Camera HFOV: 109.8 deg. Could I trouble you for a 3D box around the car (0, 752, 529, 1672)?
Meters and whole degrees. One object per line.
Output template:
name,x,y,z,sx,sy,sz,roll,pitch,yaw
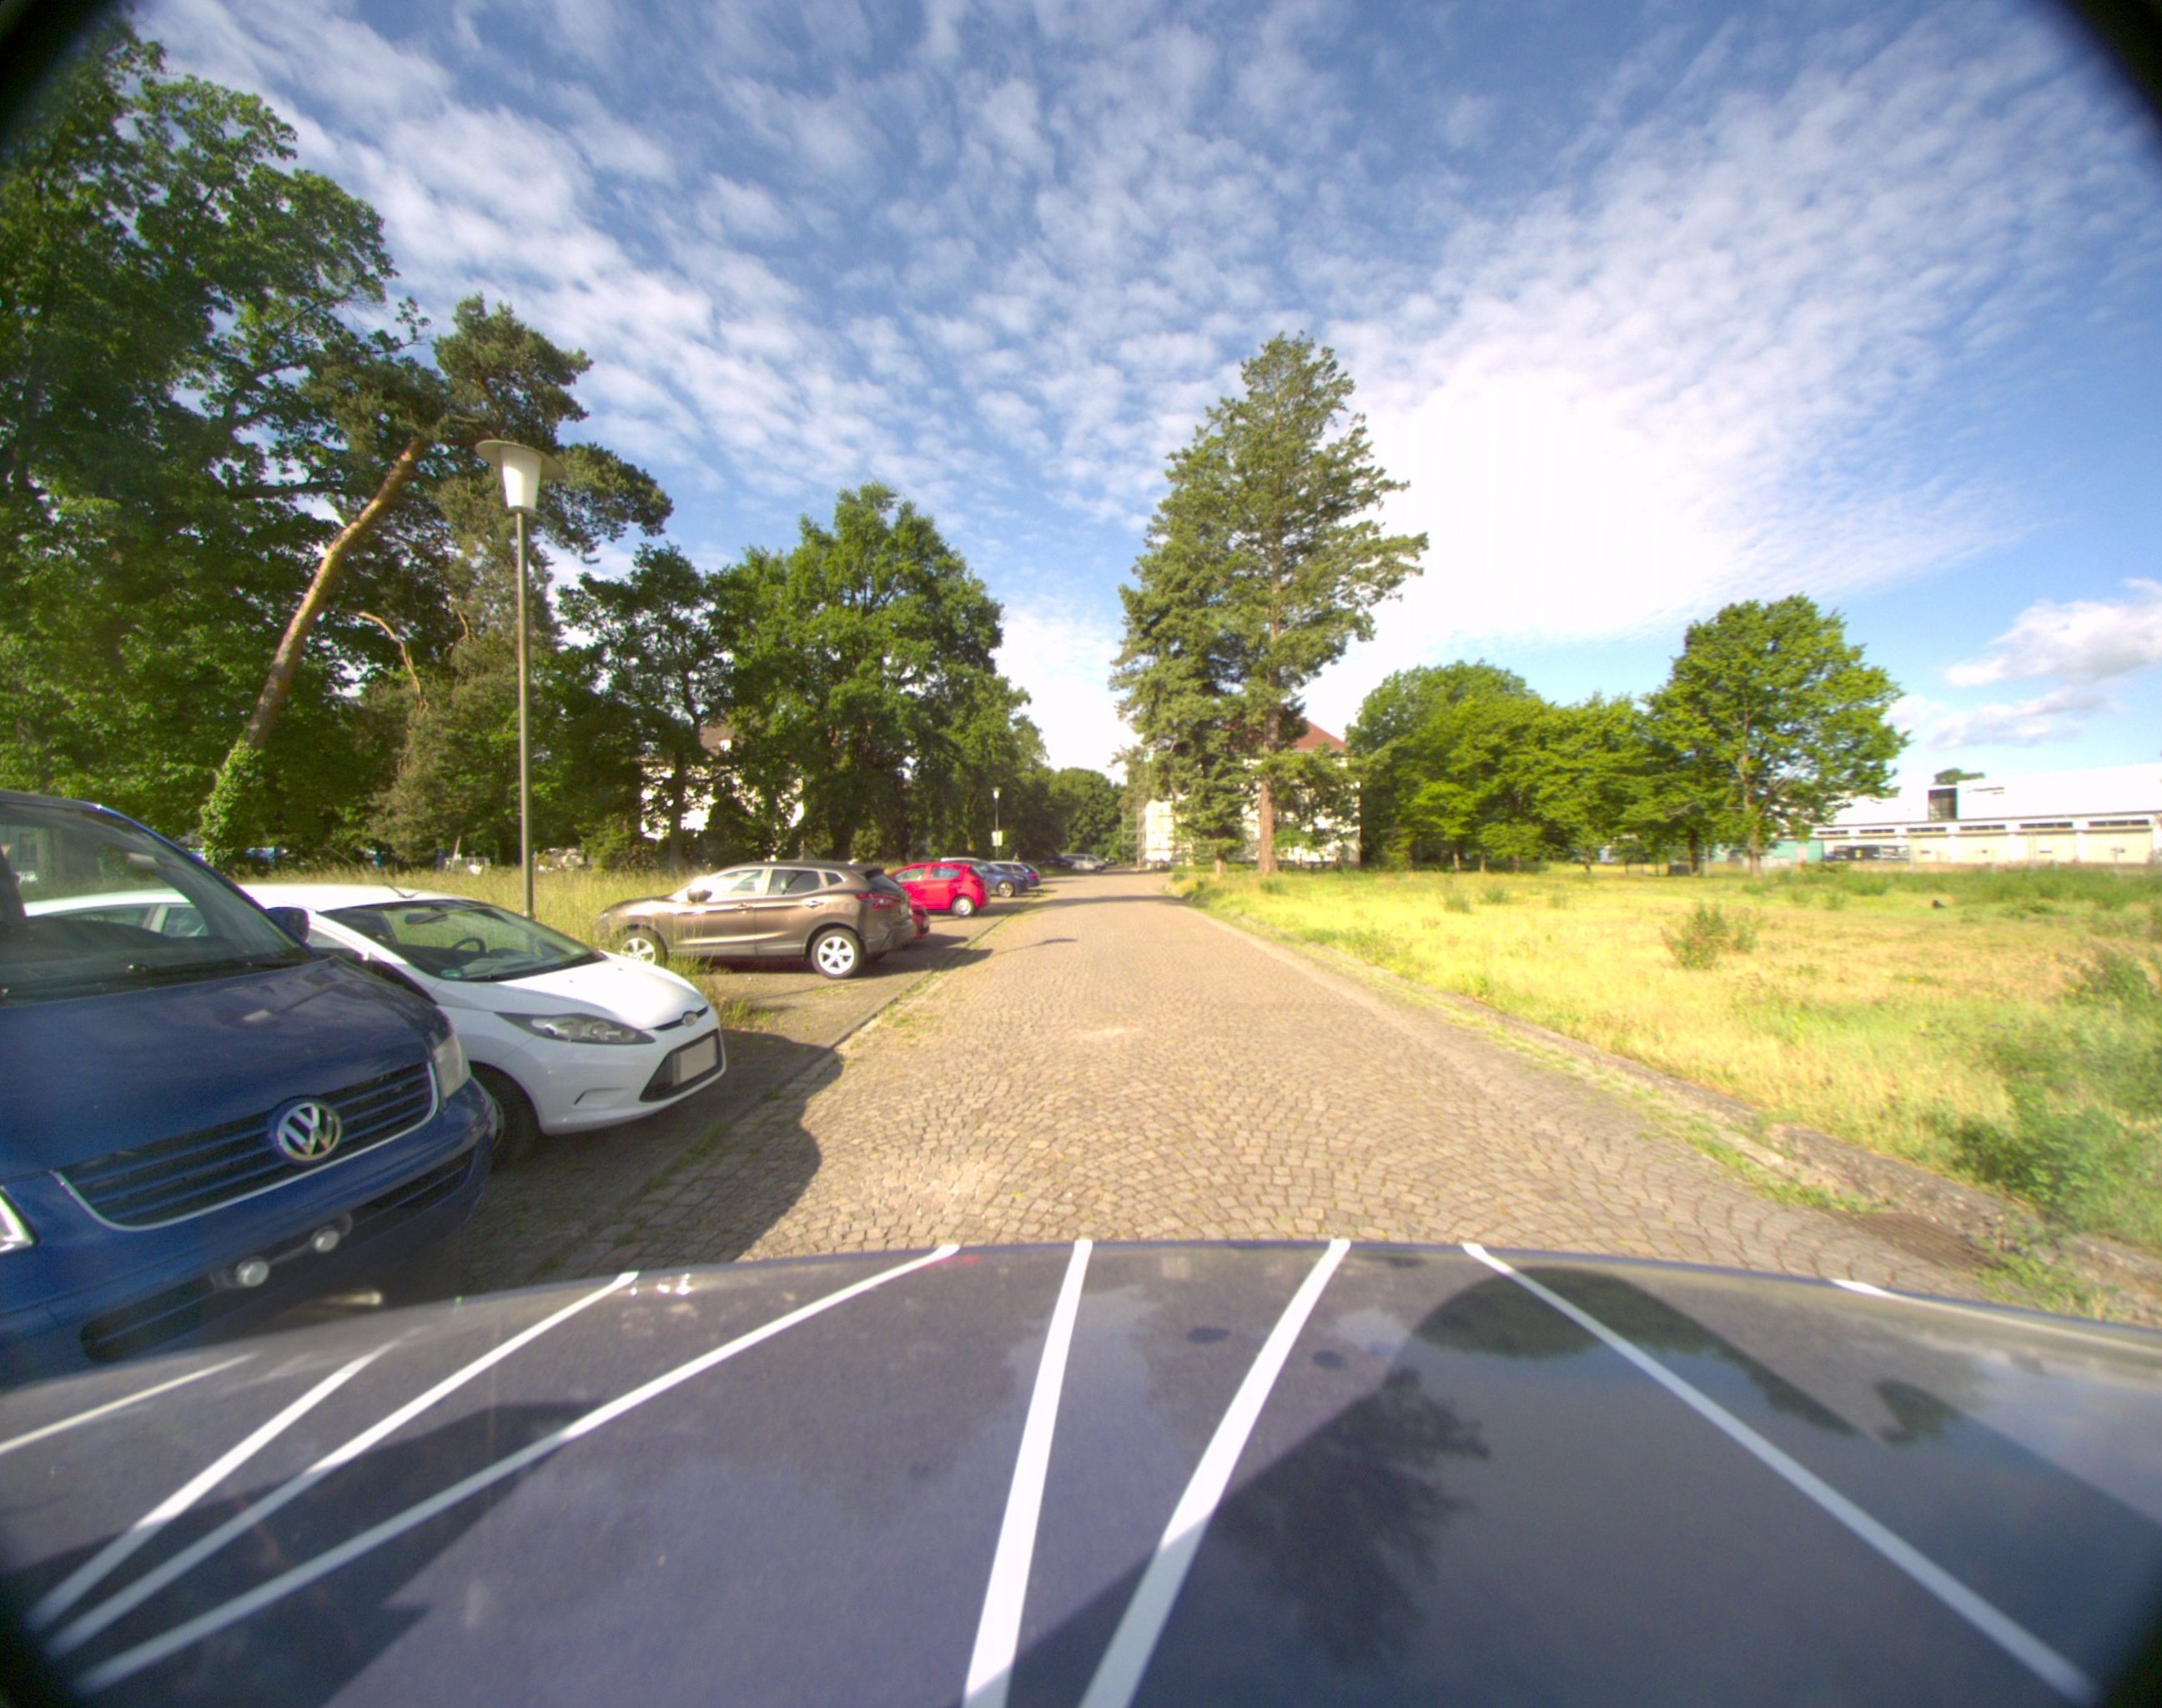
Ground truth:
car,-4.598,0.717,2.080,4.710,1.924,2.000,1,0,0

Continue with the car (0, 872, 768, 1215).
car,-4.553,0.955,4.701,4.408,1.568,1.939,1,0,0

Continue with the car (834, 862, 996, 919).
car,-4.545,0.979,21.241,4.098,1.451,1.853,1,0,-1

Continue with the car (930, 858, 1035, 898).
car,-4.039,0.962,31.549,4.098,1.548,1.853,1,0,-1

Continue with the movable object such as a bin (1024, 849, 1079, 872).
movable object such as a bin,-2.793,0.623,72.079,4.865,2.002,2.002,-1,0,14

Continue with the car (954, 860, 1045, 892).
car,-3.828,1.031,36.233,4.098,1.414,1.785,1,0,-1

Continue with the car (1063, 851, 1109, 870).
car,0.489,0.688,84.833,4.933,2.002,1.999,1,1,-5

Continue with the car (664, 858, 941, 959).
car,-4.812,0.919,13.636,4.237,1.588,1.934,1,1,-2

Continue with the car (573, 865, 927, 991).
car,-4.512,0.976,10.926,4.237,1.588,1.934,0,1,-2
